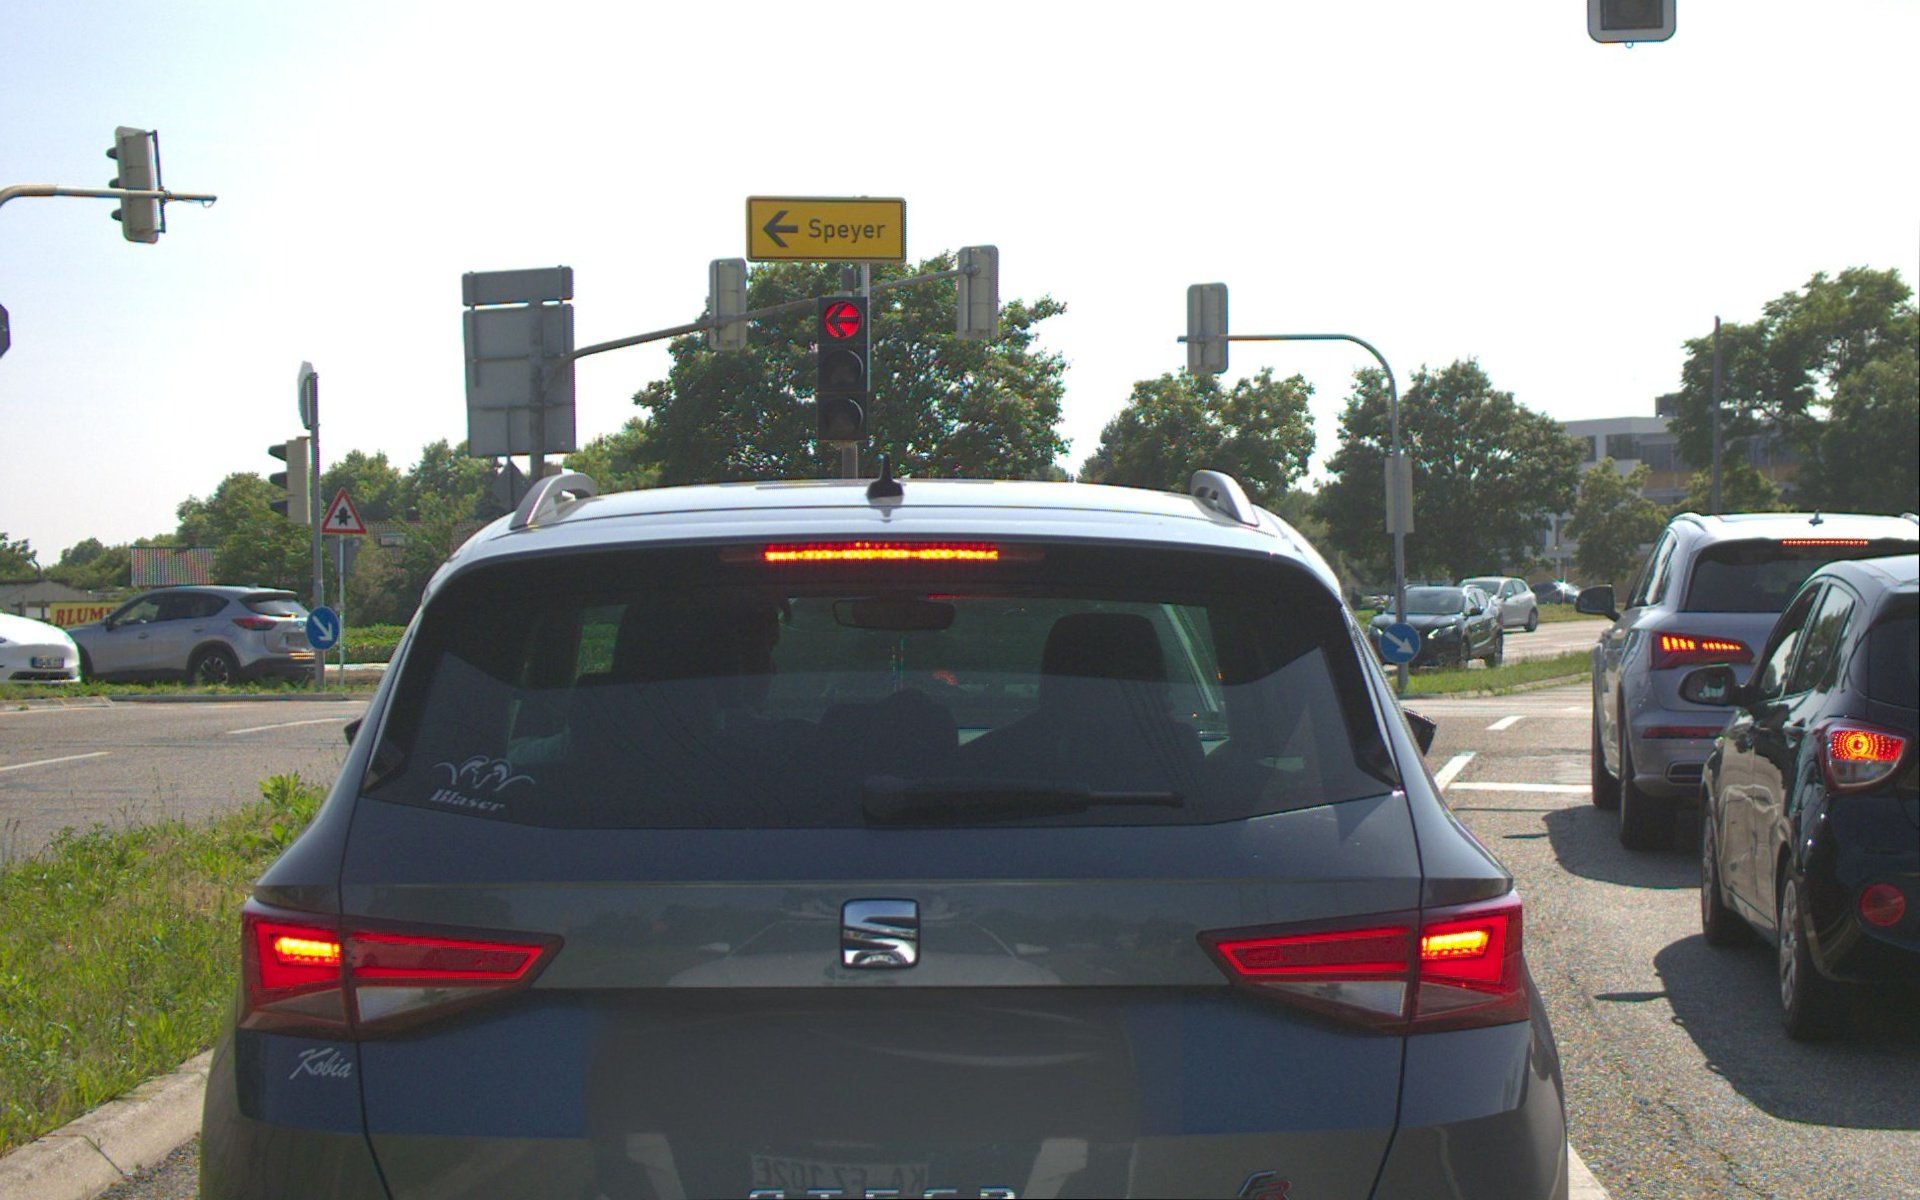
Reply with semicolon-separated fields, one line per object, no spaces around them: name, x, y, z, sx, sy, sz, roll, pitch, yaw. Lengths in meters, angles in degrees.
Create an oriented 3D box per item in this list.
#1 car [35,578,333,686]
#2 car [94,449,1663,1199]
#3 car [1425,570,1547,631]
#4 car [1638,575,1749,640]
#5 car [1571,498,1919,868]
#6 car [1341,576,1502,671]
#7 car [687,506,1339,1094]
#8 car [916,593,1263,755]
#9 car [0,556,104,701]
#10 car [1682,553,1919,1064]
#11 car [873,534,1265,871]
car;-11.435;0.461;50.644;4.029;1.514;1.805;0;1;26
car;-0.117;0.613;5.664;1.742;1.563;3.624;1;0;-1
car;13.610;0.012;88.773;1.721;1.492;3.763;1;1;32
car;19.756;0.202;92.510;1.880;1.667;3.764;1;1;28
car;4.084;0.359;17.567;1.633;1.671;3.749;1;1;6
car;8.610;0.415;63.912;1.879;1.667;3.765;1;1;25
car;0.153;0.528;11.150;1.742;1.563;3.624;1;0;0
car;1.626;0.899;43.274;4.013;1.946;1.693;0;0;27
car;-12.691;0.325;41.112;4.753;1.645;1.817;0;1;28
car;3.383;0.578;11.339;1.633;1.443;3.294;1;1;6
car;0.637;0.444;17.271;1.742;1.479;3.623;1;0;5
